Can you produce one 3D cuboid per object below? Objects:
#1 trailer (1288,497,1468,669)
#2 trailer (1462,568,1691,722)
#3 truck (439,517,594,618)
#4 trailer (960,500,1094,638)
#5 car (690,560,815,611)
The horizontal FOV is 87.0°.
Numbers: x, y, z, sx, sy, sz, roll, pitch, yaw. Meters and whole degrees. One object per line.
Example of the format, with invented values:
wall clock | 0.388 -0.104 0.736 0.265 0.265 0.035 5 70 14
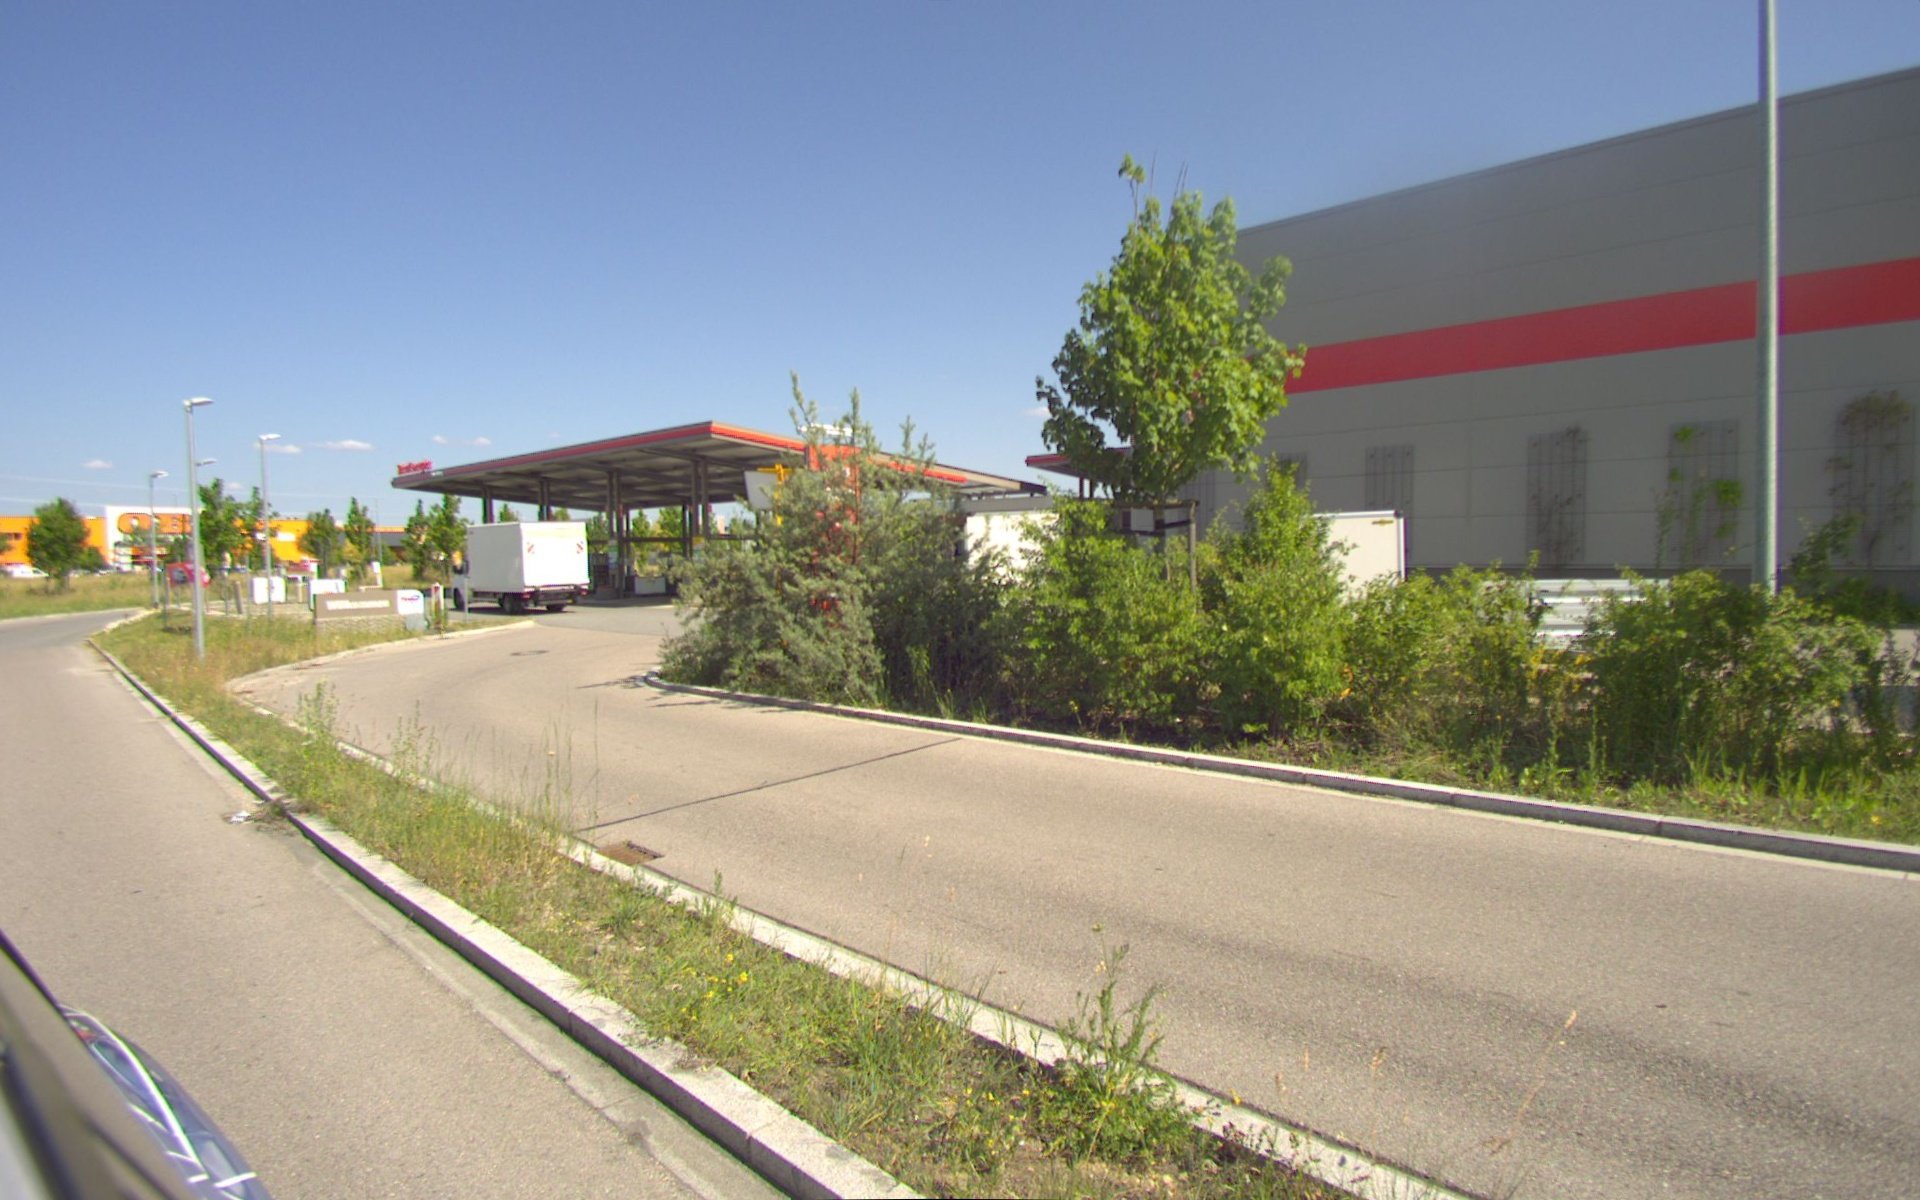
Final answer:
trailer | 5.478 -0.232 13.554 1.984 2.028 2.720 -1 2 19
trailer | 7.253 0.429 12.270 1.587 1.521 3.578 -2 2 19
truck | -16.316 -1.144 36.980 6.906 3.342 2.605 0 2 43
trailer | 1.203 -0.515 16.969 1.976 2.028 3.200 -2 2 7
car | -7.830 -0.580 38.549 1.795 1.771 4.459 0 3 42
